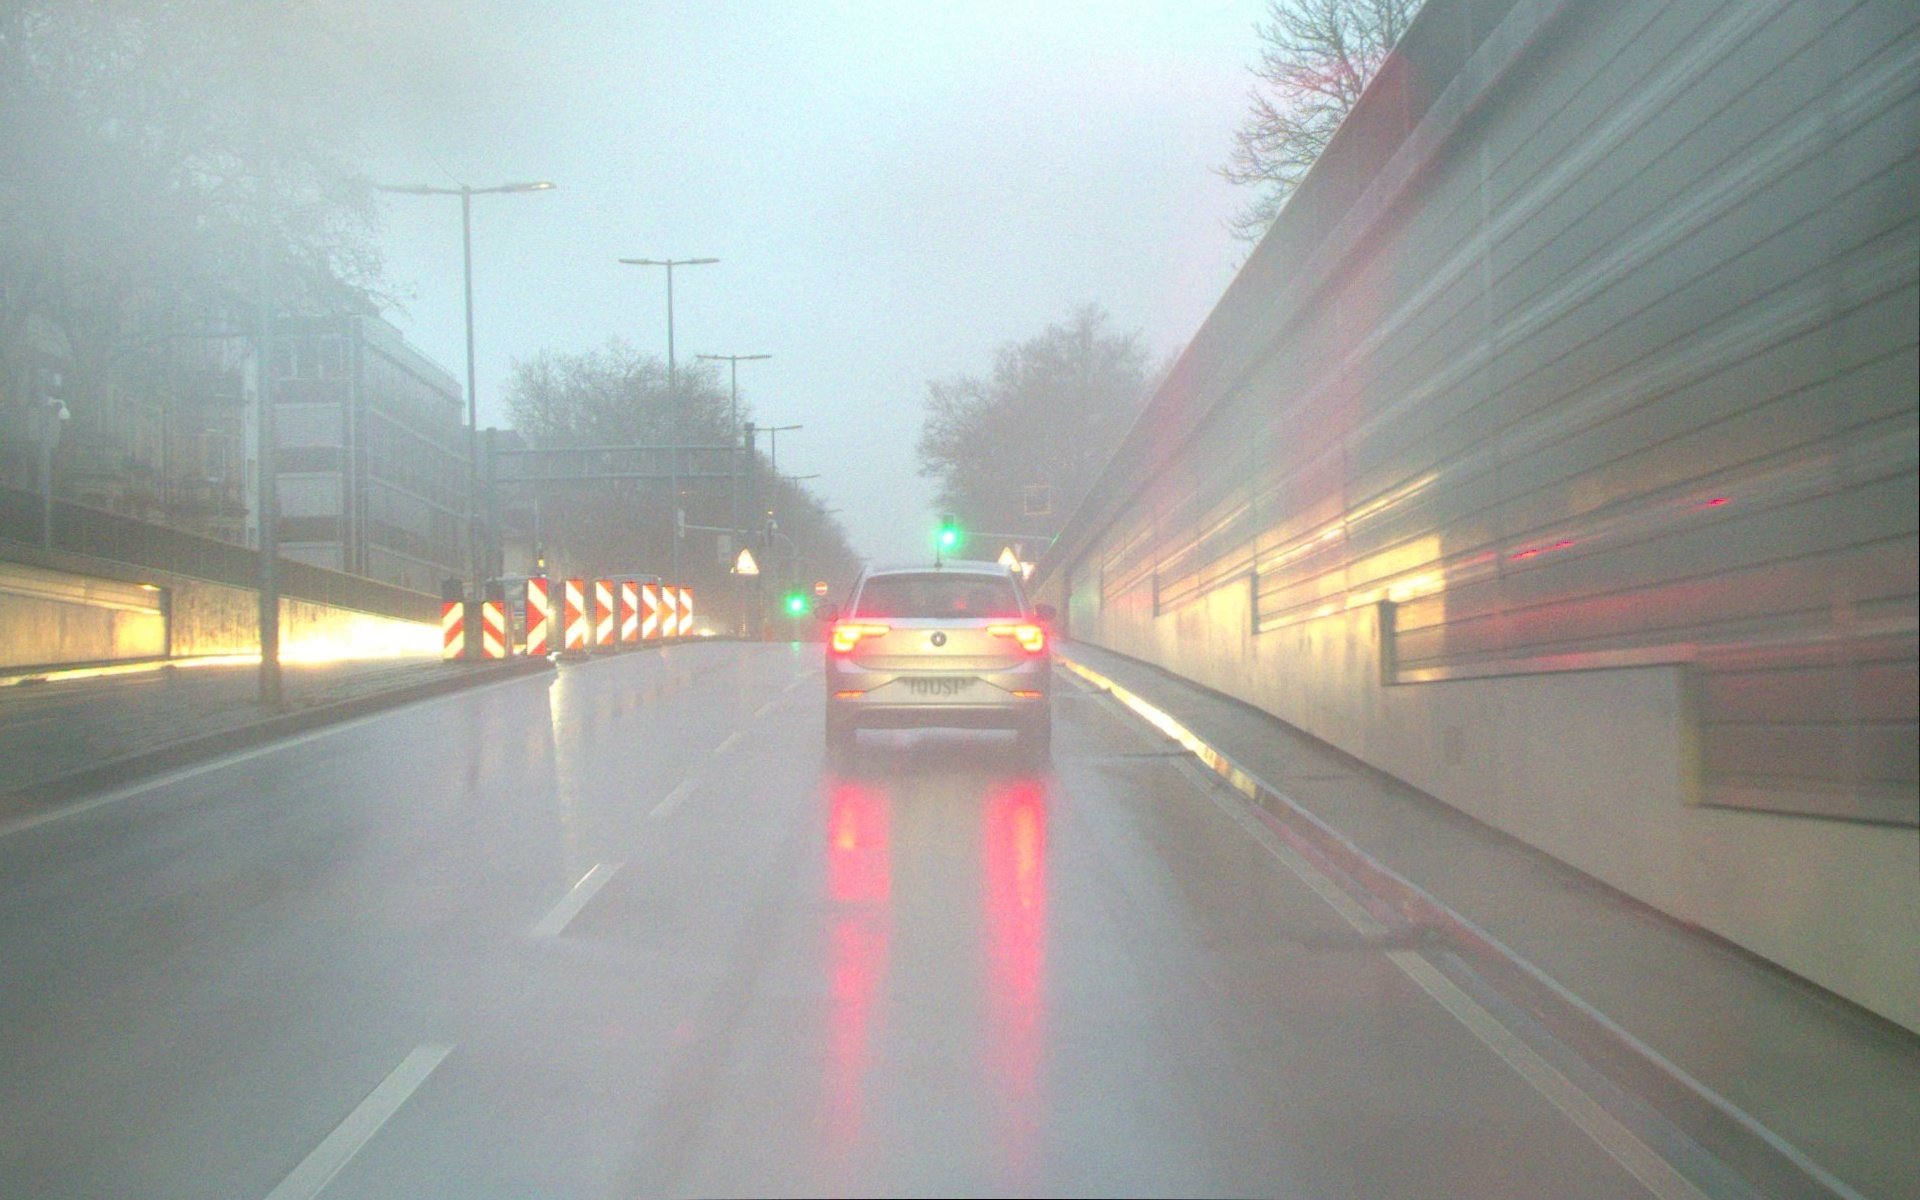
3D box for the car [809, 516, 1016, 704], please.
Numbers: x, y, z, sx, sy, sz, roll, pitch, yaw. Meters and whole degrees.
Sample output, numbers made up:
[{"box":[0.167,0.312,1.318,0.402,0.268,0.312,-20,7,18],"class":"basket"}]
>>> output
[{"box":[-0.365,0.106,27.165,1.532,1.392,3.433,0,-1,0],"class":"car"}]
